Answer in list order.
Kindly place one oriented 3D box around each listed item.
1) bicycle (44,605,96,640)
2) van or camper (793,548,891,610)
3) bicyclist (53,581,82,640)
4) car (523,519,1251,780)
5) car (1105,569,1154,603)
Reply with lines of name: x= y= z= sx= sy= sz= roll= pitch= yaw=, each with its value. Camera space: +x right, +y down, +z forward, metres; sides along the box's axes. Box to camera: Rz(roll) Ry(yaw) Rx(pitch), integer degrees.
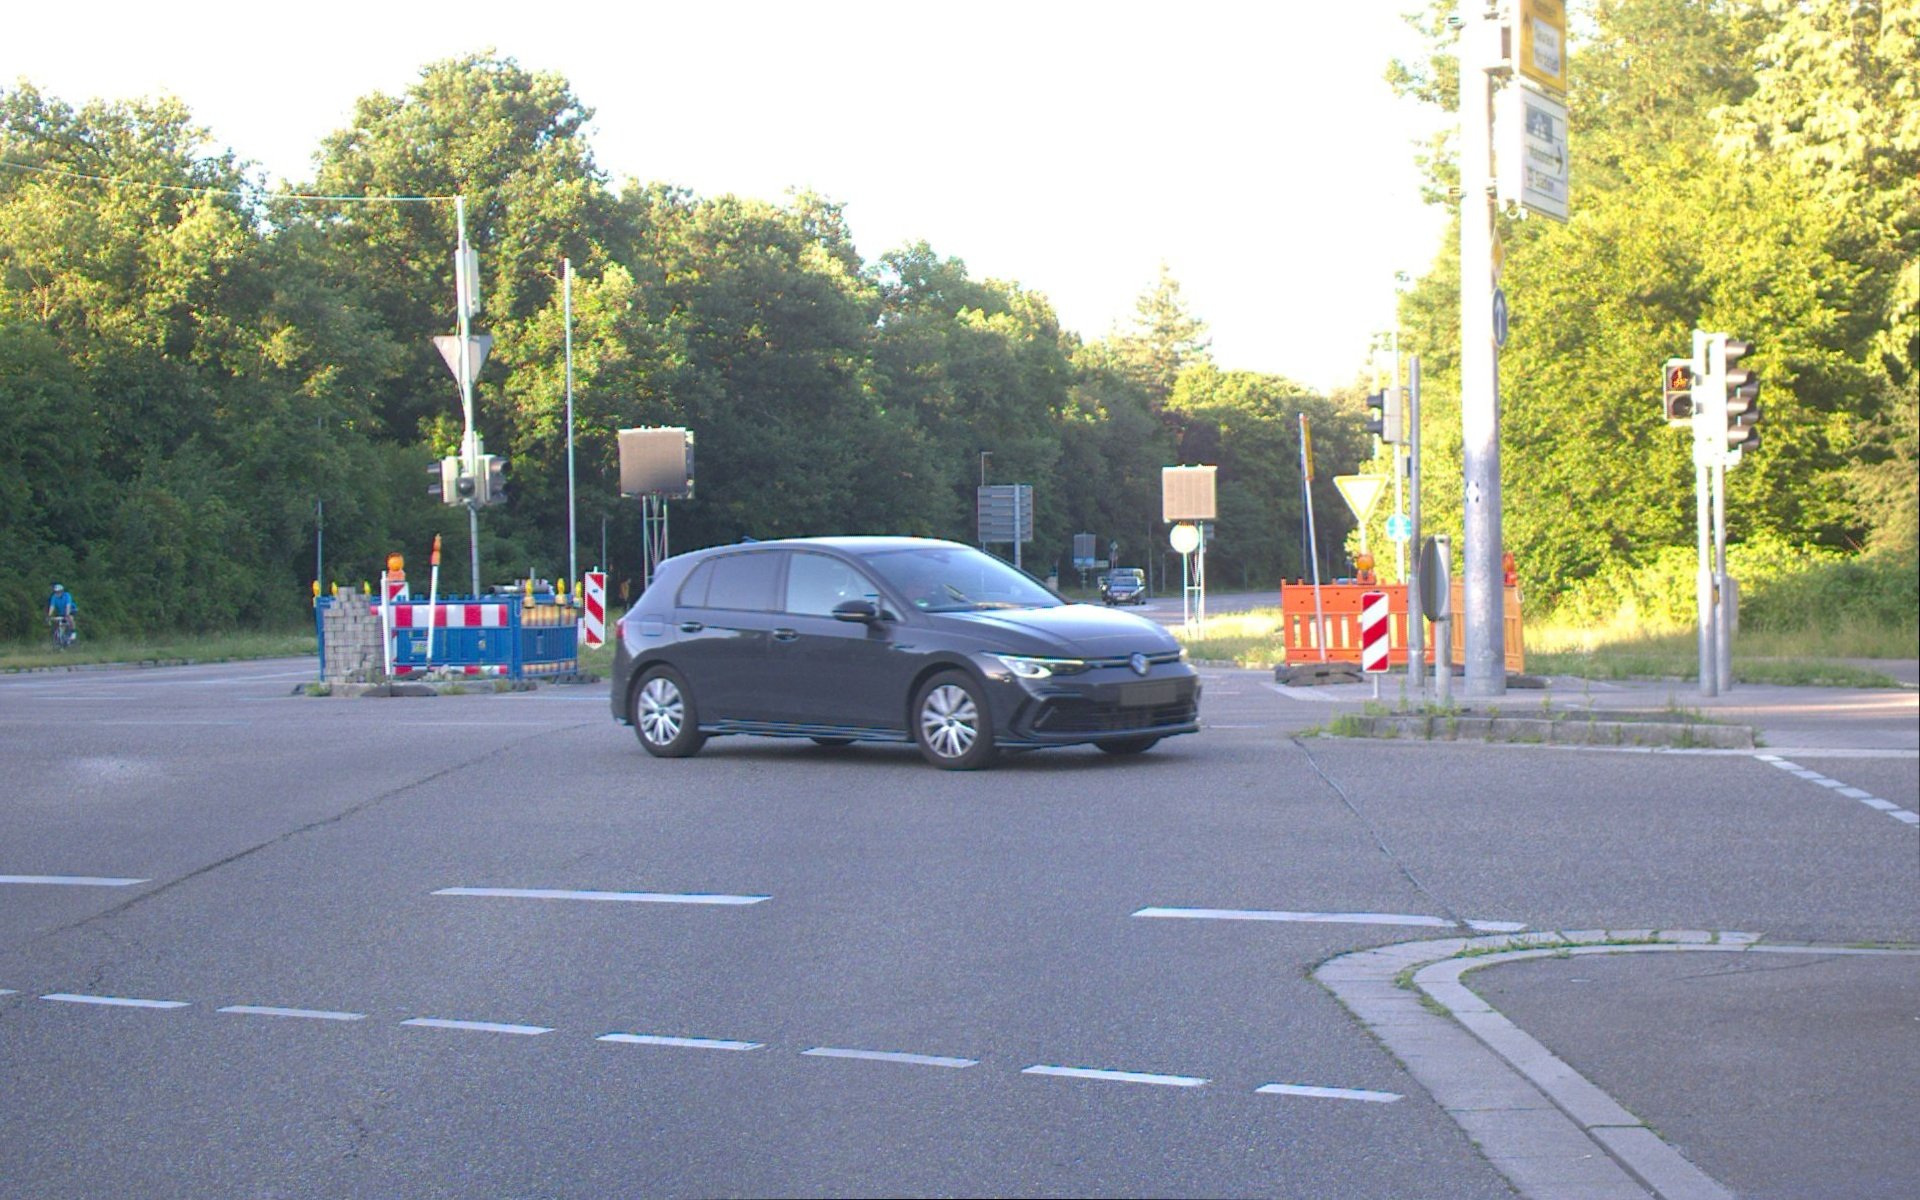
bicycle: x=-21.030 y=0.529 z=81.243 sx=1.103 sy=0.823 sz=0.413 roll=-1 pitch=1 yaw=-41
van or camper: x=-5.100 y=-0.948 z=149.677 sx=2.886 sy=2.643 sz=7.119 roll=0 pitch=1 yaw=9
bicyclist: x=-21.083 y=0.241 z=81.198 sx=0.518 sy=1.382 sz=0.407 roll=-1 pitch=1 yaw=-42
car: x=-0.565 y=0.269 z=22.429 sx=4.674 sy=1.524 sz=1.995 roll=0 pitch=1 yaw=43
car: x=9.180 y=-0.763 z=185.476 sx=1.994 sy=1.634 sz=3.998 roll=-2 pitch=2 yaw=12
